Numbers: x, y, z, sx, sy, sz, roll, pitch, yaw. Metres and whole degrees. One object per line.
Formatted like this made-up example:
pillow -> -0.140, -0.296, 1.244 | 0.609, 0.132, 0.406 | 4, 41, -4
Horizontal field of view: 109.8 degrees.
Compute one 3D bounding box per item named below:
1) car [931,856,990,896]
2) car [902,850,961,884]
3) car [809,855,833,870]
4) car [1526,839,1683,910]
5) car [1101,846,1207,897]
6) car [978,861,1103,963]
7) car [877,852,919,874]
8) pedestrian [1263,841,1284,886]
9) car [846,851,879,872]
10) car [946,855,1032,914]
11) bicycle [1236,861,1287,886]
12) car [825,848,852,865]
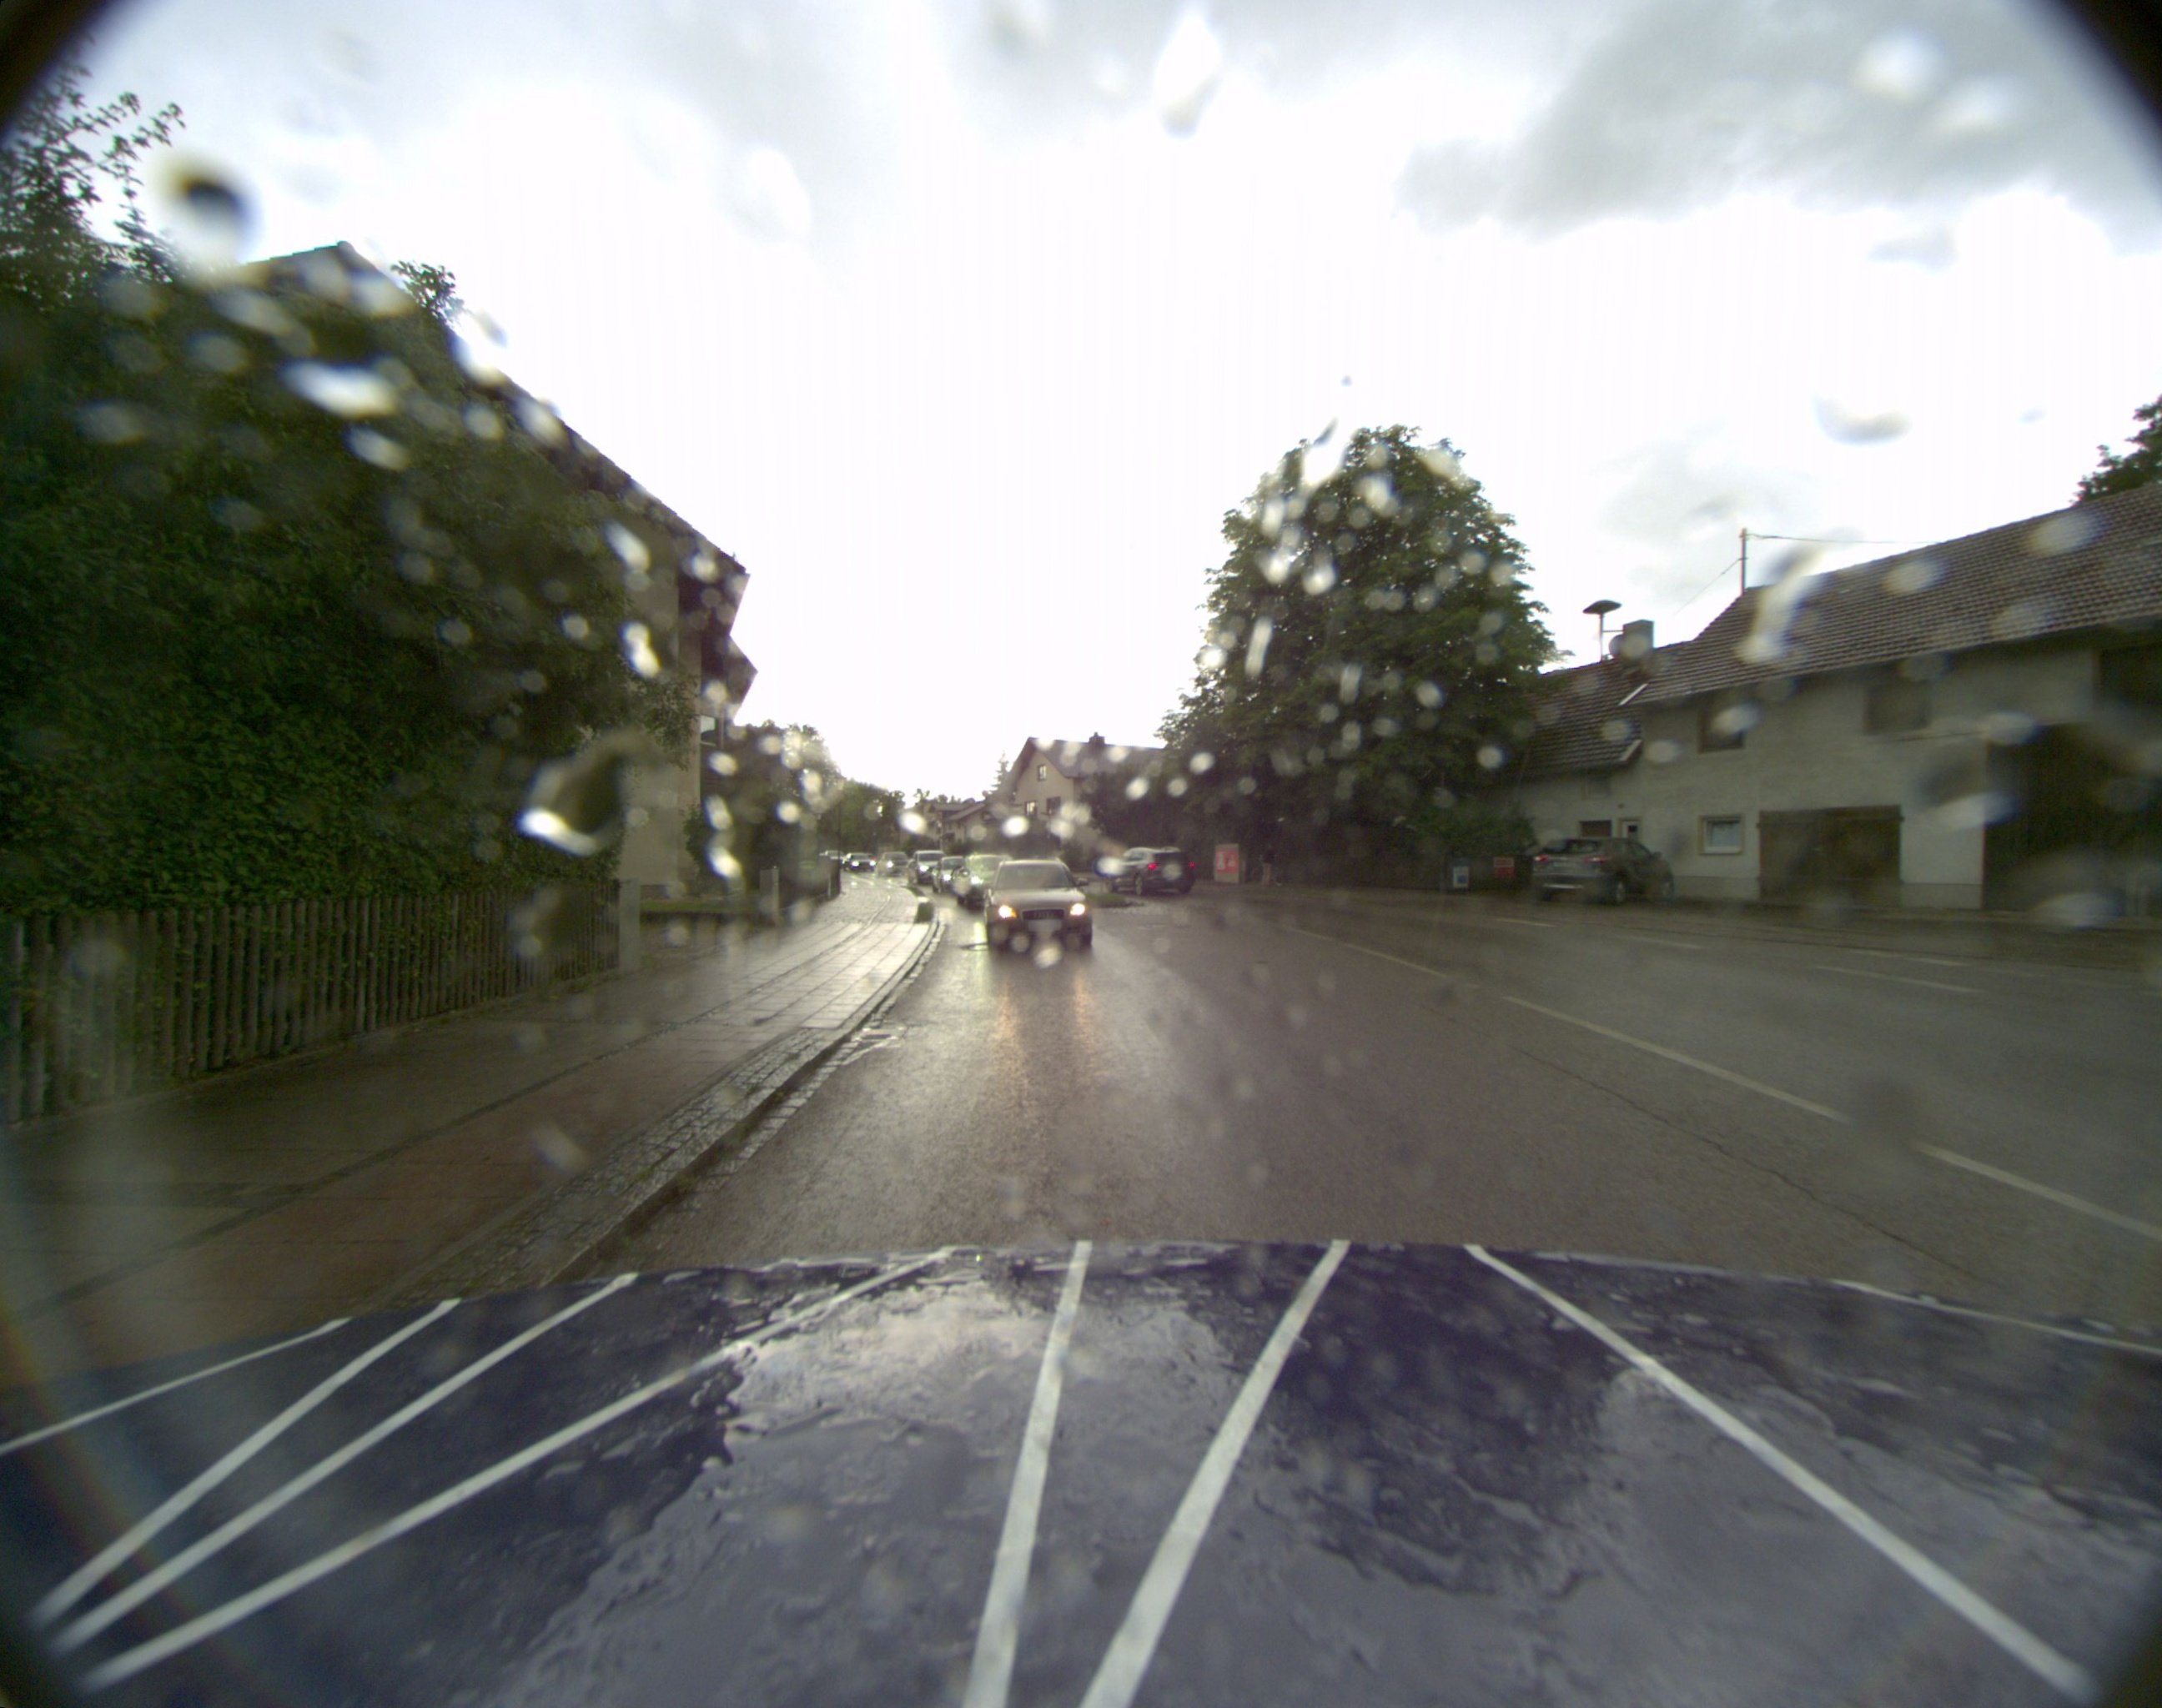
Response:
car -> -4.802, 0.805, 29.849 | 1.796, 1.387, 4.275 | -3, 1, -15
car -> -7.618, 0.614, 38.311 | 1.797, 1.539, 4.272 | -3, 1, -26
car -> -27.519, 0.868, 80.332 | 1.797, 1.539, 4.272 | -3, 1, -26
car -> 12.790, 0.472, 18.484 | 4.290, 1.539, 1.813 | 1, 0, -36
car -> 2.450, 0.574, 26.688 | 2.002, 1.585, 4.184 | -2, 0, -20
car -> -0.889, 0.894, 13.723 | 1.795, 1.387, 4.277 | -2, 1, -9
car -> -12.391, 0.601, 51.264 | 1.797, 1.365, 4.272 | -3, 1, -26
pedestrian -> 7.000, 0.353, 27.630 | 0.652, 1.619, 0.480 | -1, 1, 23
car -> -17.875, 0.610, 62.142 | 1.797, 1.539, 4.272 | -3, 1, -26
car -> -2.928, 0.819, 23.160 | 1.796, 1.470, 5.378 | -3, 1, -15
bicycle -> 6.844, 0.741, 28.840 | 0.665, 0.897, 1.869 | -2, 1, -38
car -> -23.321, 0.211, 72.871 | 1.797, 1.539, 4.272 | -3, 1, -26
